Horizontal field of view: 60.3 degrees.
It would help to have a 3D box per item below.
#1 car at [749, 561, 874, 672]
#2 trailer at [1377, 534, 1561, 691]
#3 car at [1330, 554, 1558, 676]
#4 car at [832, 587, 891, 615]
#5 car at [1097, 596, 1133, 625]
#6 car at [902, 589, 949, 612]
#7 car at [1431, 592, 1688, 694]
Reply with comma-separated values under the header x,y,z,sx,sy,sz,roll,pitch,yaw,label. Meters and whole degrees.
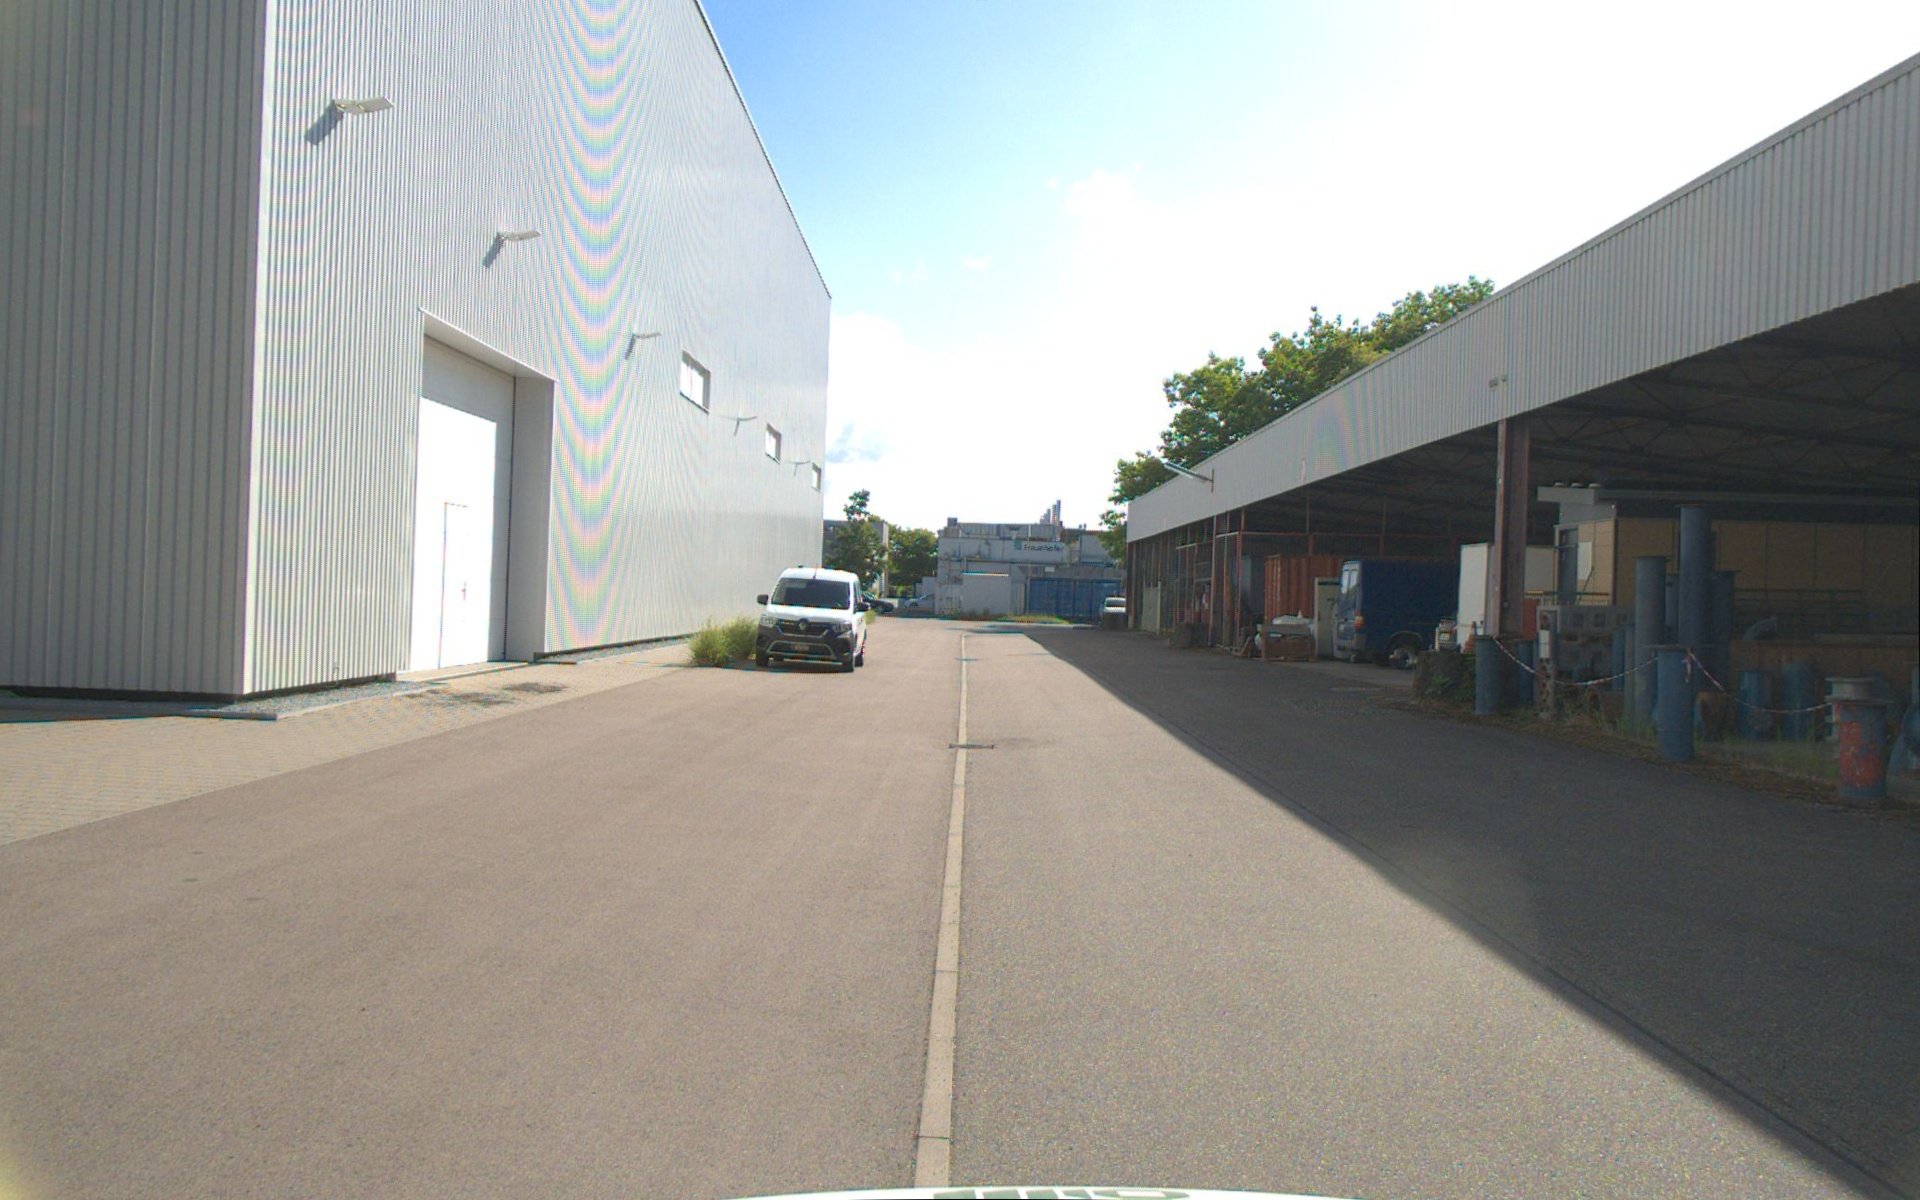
x,y,z,sx,sy,sz,roll,pitch,yaw,label
-2.683,0.274,30.806,1.781,1.818,4.405,3,0,1,car
8.367,0.206,27.355,2.471,2.441,1.727,2,-1,1,trailer
10.514,0.354,36.142,4.342,2.350,1.915,3,-2,1,car
-6.727,0.095,113.021,3.906,1.626,1.741,3,-2,-1,car
9.405,0.593,100.615,1.921,1.592,4.060,3,1,2,car
-2.916,0.061,140.905,3.906,1.626,1.847,3,-2,-1,car
10.669,0.773,29.621,3.955,1.551,1.684,3,-2,1,car
